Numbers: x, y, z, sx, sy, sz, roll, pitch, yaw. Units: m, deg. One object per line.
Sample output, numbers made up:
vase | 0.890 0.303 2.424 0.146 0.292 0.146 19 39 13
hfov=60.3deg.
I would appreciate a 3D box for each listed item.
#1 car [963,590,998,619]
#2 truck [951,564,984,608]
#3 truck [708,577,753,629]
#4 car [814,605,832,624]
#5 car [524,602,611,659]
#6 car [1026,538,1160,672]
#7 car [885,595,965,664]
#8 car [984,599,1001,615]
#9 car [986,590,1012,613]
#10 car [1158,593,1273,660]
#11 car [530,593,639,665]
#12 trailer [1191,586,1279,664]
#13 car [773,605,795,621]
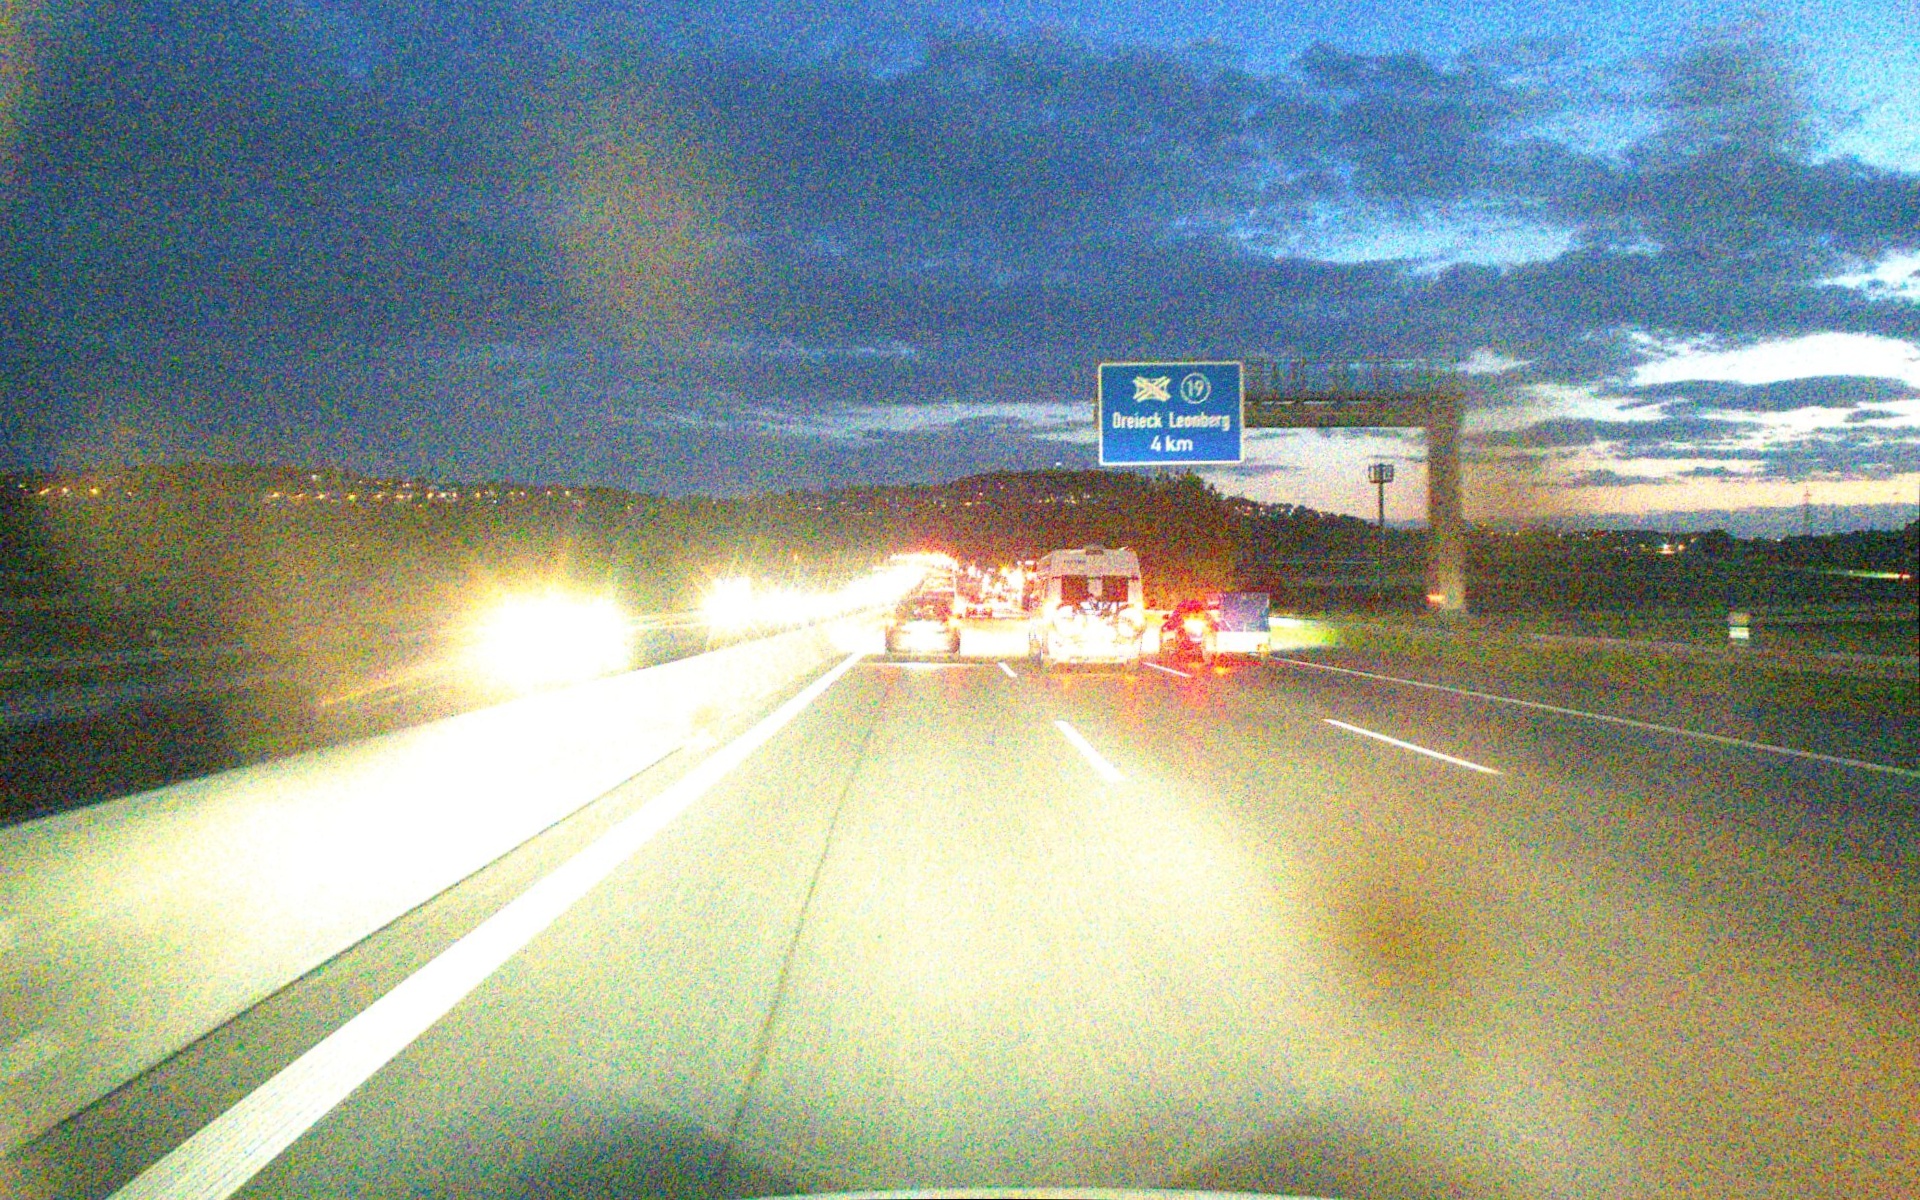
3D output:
car | 1.395 0.280 115.874 2.303 1.947 4.722 -1 0 -1
truck | 0.676 -1.304 156.208 2.725 4.024 7.989 -1 0 -2
truck | -18.380 0.220 132.871 2.725 4.024 7.989 -1 0 -2
car | -14.819 1.548 178.972 1.737 2.002 3.999 -1 0 -1
car | -12.325 0.940 52.160 1.775 1.671 4.157 -1 0 -1
car | 2.727 0.061 35.287 2.303 2.579 5.700 -1 1 -1
car | -0.797 0.645 38.811 1.757 1.494 3.772 0 1 -1
car | 3.943 0.833 199.748 1.953 1.982 3.999 0 0 -1
car | 3.767 0.156 160.337 2.303 2.112 4.722 -1 1 -1
car | 6.357 0.614 41.696 2.119 1.591 4.722 0 0 -1
car | -9.301 0.672 41.273 1.775 1.671 4.157 -1 0 -1
trailer | 6.278 0.551 37.990 1.534 1.723 2.820 -1 0 -1
car | -18.299 1.372 172.161 1.953 1.660 3.999 0 0 -1
